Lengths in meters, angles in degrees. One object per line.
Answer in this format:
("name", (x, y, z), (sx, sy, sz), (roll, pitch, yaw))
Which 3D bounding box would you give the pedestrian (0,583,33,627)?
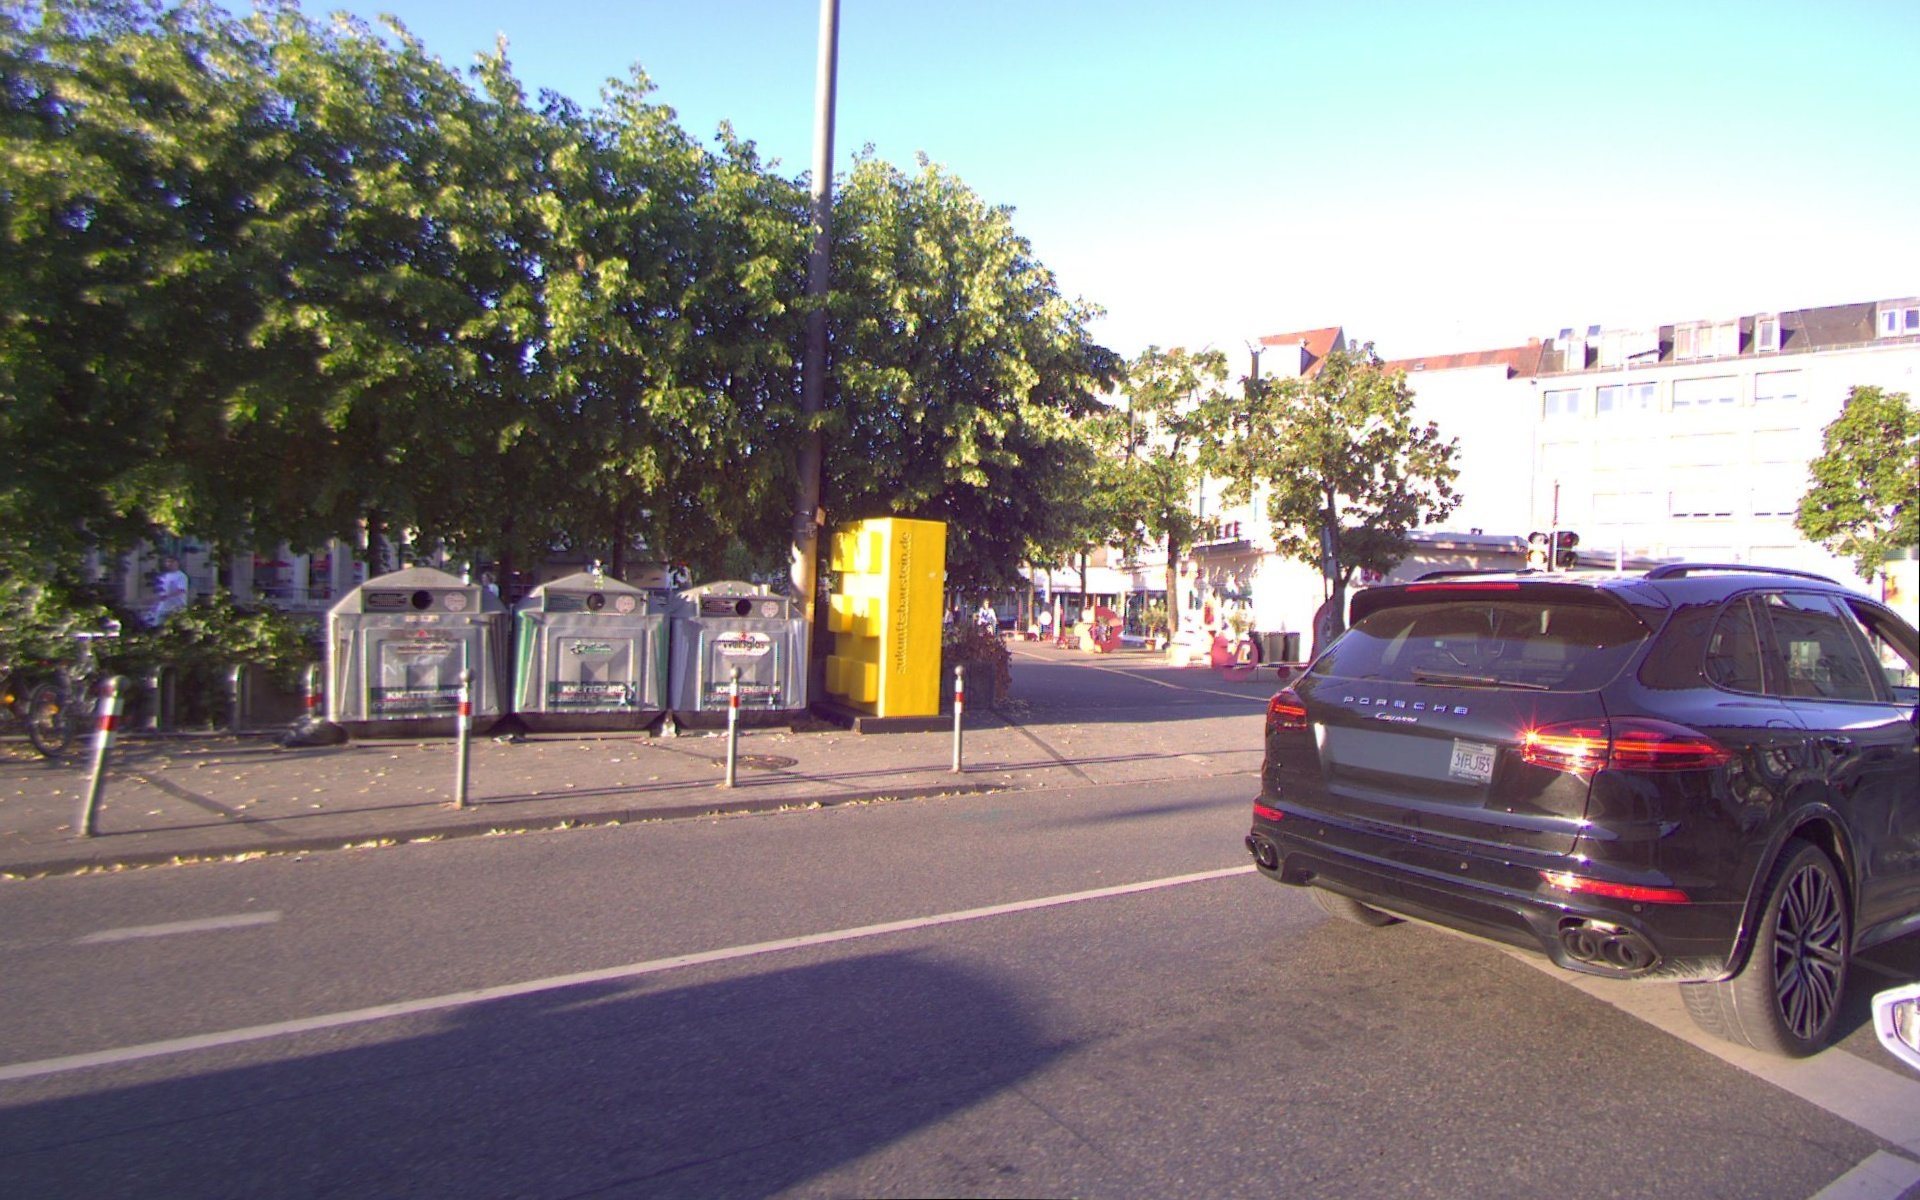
("pedestrian", (-23.767, 0.111, 25.218), (0.519, 1.077, 0.462), (1, 2, -2))

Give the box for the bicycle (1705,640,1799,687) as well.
("bicycle", (23.613, 1.880, 29.989), (0.938, 1.273, 1.997), (2, -1, -29))

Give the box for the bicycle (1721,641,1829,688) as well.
("bicycle", (24.750, 1.937, 30.576), (0.778, 1.273, 2.433), (2, -1, -29))

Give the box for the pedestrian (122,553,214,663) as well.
("pedestrian", (-13.177, 0.136, 16.729), (0.879, 1.748, 0.736), (3, 0, 7))

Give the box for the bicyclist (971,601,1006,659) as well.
("bicyclist", (0.857, 0.913, 30.802), (0.841, 1.747, 0.776), (2, 0, -15))

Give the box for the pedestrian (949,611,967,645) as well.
("pedestrian", (-0.120, 1.690, 61.499), (0.650, 2.040, 0.809), (3, 0, 34))

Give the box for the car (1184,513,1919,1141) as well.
("car", (3.421, 0.693, 4.799), (4.510, 1.737, 1.939), (2, -1, -31))

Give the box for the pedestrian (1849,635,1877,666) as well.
("pedestrian", (46.746, 2.610, 52.029), (0.933, 1.558, 0.906), (2, 0, 35))

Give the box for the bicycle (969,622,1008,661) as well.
("bicycle", (0.849, 1.253, 30.712), (0.693, 1.132, 1.916), (2, -1, -13))

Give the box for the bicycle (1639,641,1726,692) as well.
("bicycle", (19.806, 1.811, 27.588), (0.625, 1.273, 1.845), (2, -1, -29))

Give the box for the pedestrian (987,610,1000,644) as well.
("pedestrian", (2.033, 1.653, 61.341), (0.648, 2.040, 0.811), (3, 0, 0))

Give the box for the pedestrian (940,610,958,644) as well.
("pedestrian", (-0.645, 1.648, 60.825), (0.650, 2.040, 0.809), (3, 0, 35))

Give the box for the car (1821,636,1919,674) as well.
("car", (42.078, 2.503, 45.709), (1.979, 1.506, 3.964), (2, 0, -33))

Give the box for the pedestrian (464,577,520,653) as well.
("pedestrian", (-10.490, 0.325, 22.515), (0.824, 1.642, 0.705), (3, 0, 8))

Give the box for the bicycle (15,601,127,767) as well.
("bicycle", (-7.697, 0.672, 8.747), (0.440, 1.269, 1.577), (2, 1, -32))

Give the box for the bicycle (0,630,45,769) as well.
("bicycle", (-8.156, 0.794, 8.357), (0.543, 0.992, 1.663), (2, 1, -34))

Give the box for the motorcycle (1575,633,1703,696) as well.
("motorcycle", (17.272, 1.607, 25.637), (0.857, 1.448, 2.570), (2, -1, -29))
